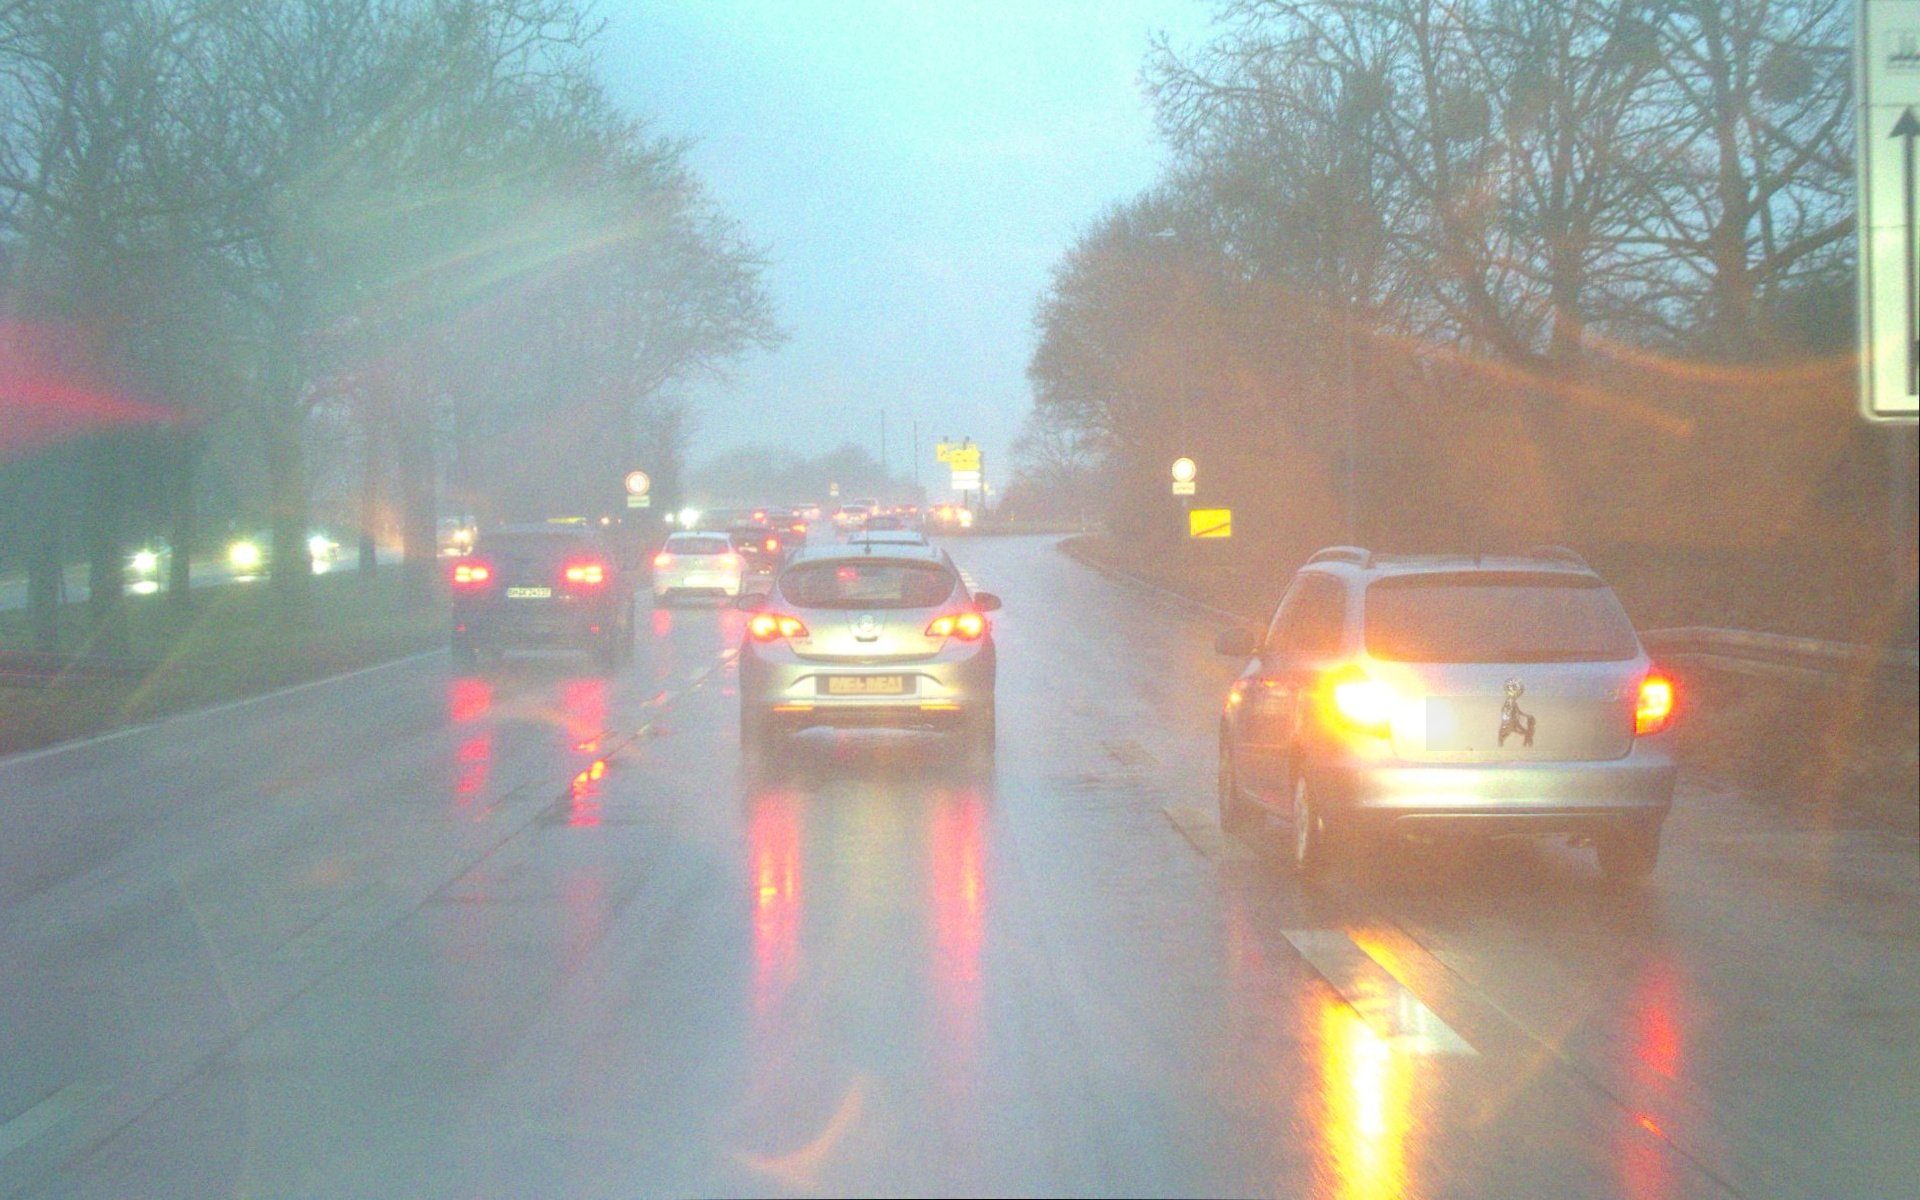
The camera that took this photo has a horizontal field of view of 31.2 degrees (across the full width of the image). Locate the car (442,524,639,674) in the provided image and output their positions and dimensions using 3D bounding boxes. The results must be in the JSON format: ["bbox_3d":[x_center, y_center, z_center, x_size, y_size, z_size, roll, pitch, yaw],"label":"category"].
[{"bbox_3d":[-4.843,-0.031,40.153,1.822,1.642,4.000,-1,1,-1],"label":"car"}]

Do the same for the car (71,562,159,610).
[{"bbox_3d":[-26.783,-0.456,109.089,1.751,1.477,4.197,0,1,0],"label":"car"}]

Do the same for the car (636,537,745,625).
[{"bbox_3d":[-5.228,-0.386,67.030,1.822,1.642,4.000,-1,1,-1],"label":"car"}]

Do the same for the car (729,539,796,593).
[{"bbox_3d":[-5.036,-0.869,87.931,1.505,1.334,4.000,-1,1,-1],"label":"car"}]

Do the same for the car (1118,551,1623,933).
[{"bbox_3d":[1.892,0.616,17.227,1.933,1.642,4.466,1,0,-1],"label":"car"}]

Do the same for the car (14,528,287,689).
[{"bbox_3d":[-8.456,0.066,36.245,1.993,1.592,4.000,0,1,-1],"label":"car"}]

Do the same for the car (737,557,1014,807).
[{"bbox_3d":[-0.582,0.540,25.092,1.822,1.642,4.466,1,0,-1],"label":"car"}]

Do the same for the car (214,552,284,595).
[{"bbox_3d":[-22.888,-0.860,110.706,1.637,1.335,4.001,1,1,-3],"label":"car"}]
